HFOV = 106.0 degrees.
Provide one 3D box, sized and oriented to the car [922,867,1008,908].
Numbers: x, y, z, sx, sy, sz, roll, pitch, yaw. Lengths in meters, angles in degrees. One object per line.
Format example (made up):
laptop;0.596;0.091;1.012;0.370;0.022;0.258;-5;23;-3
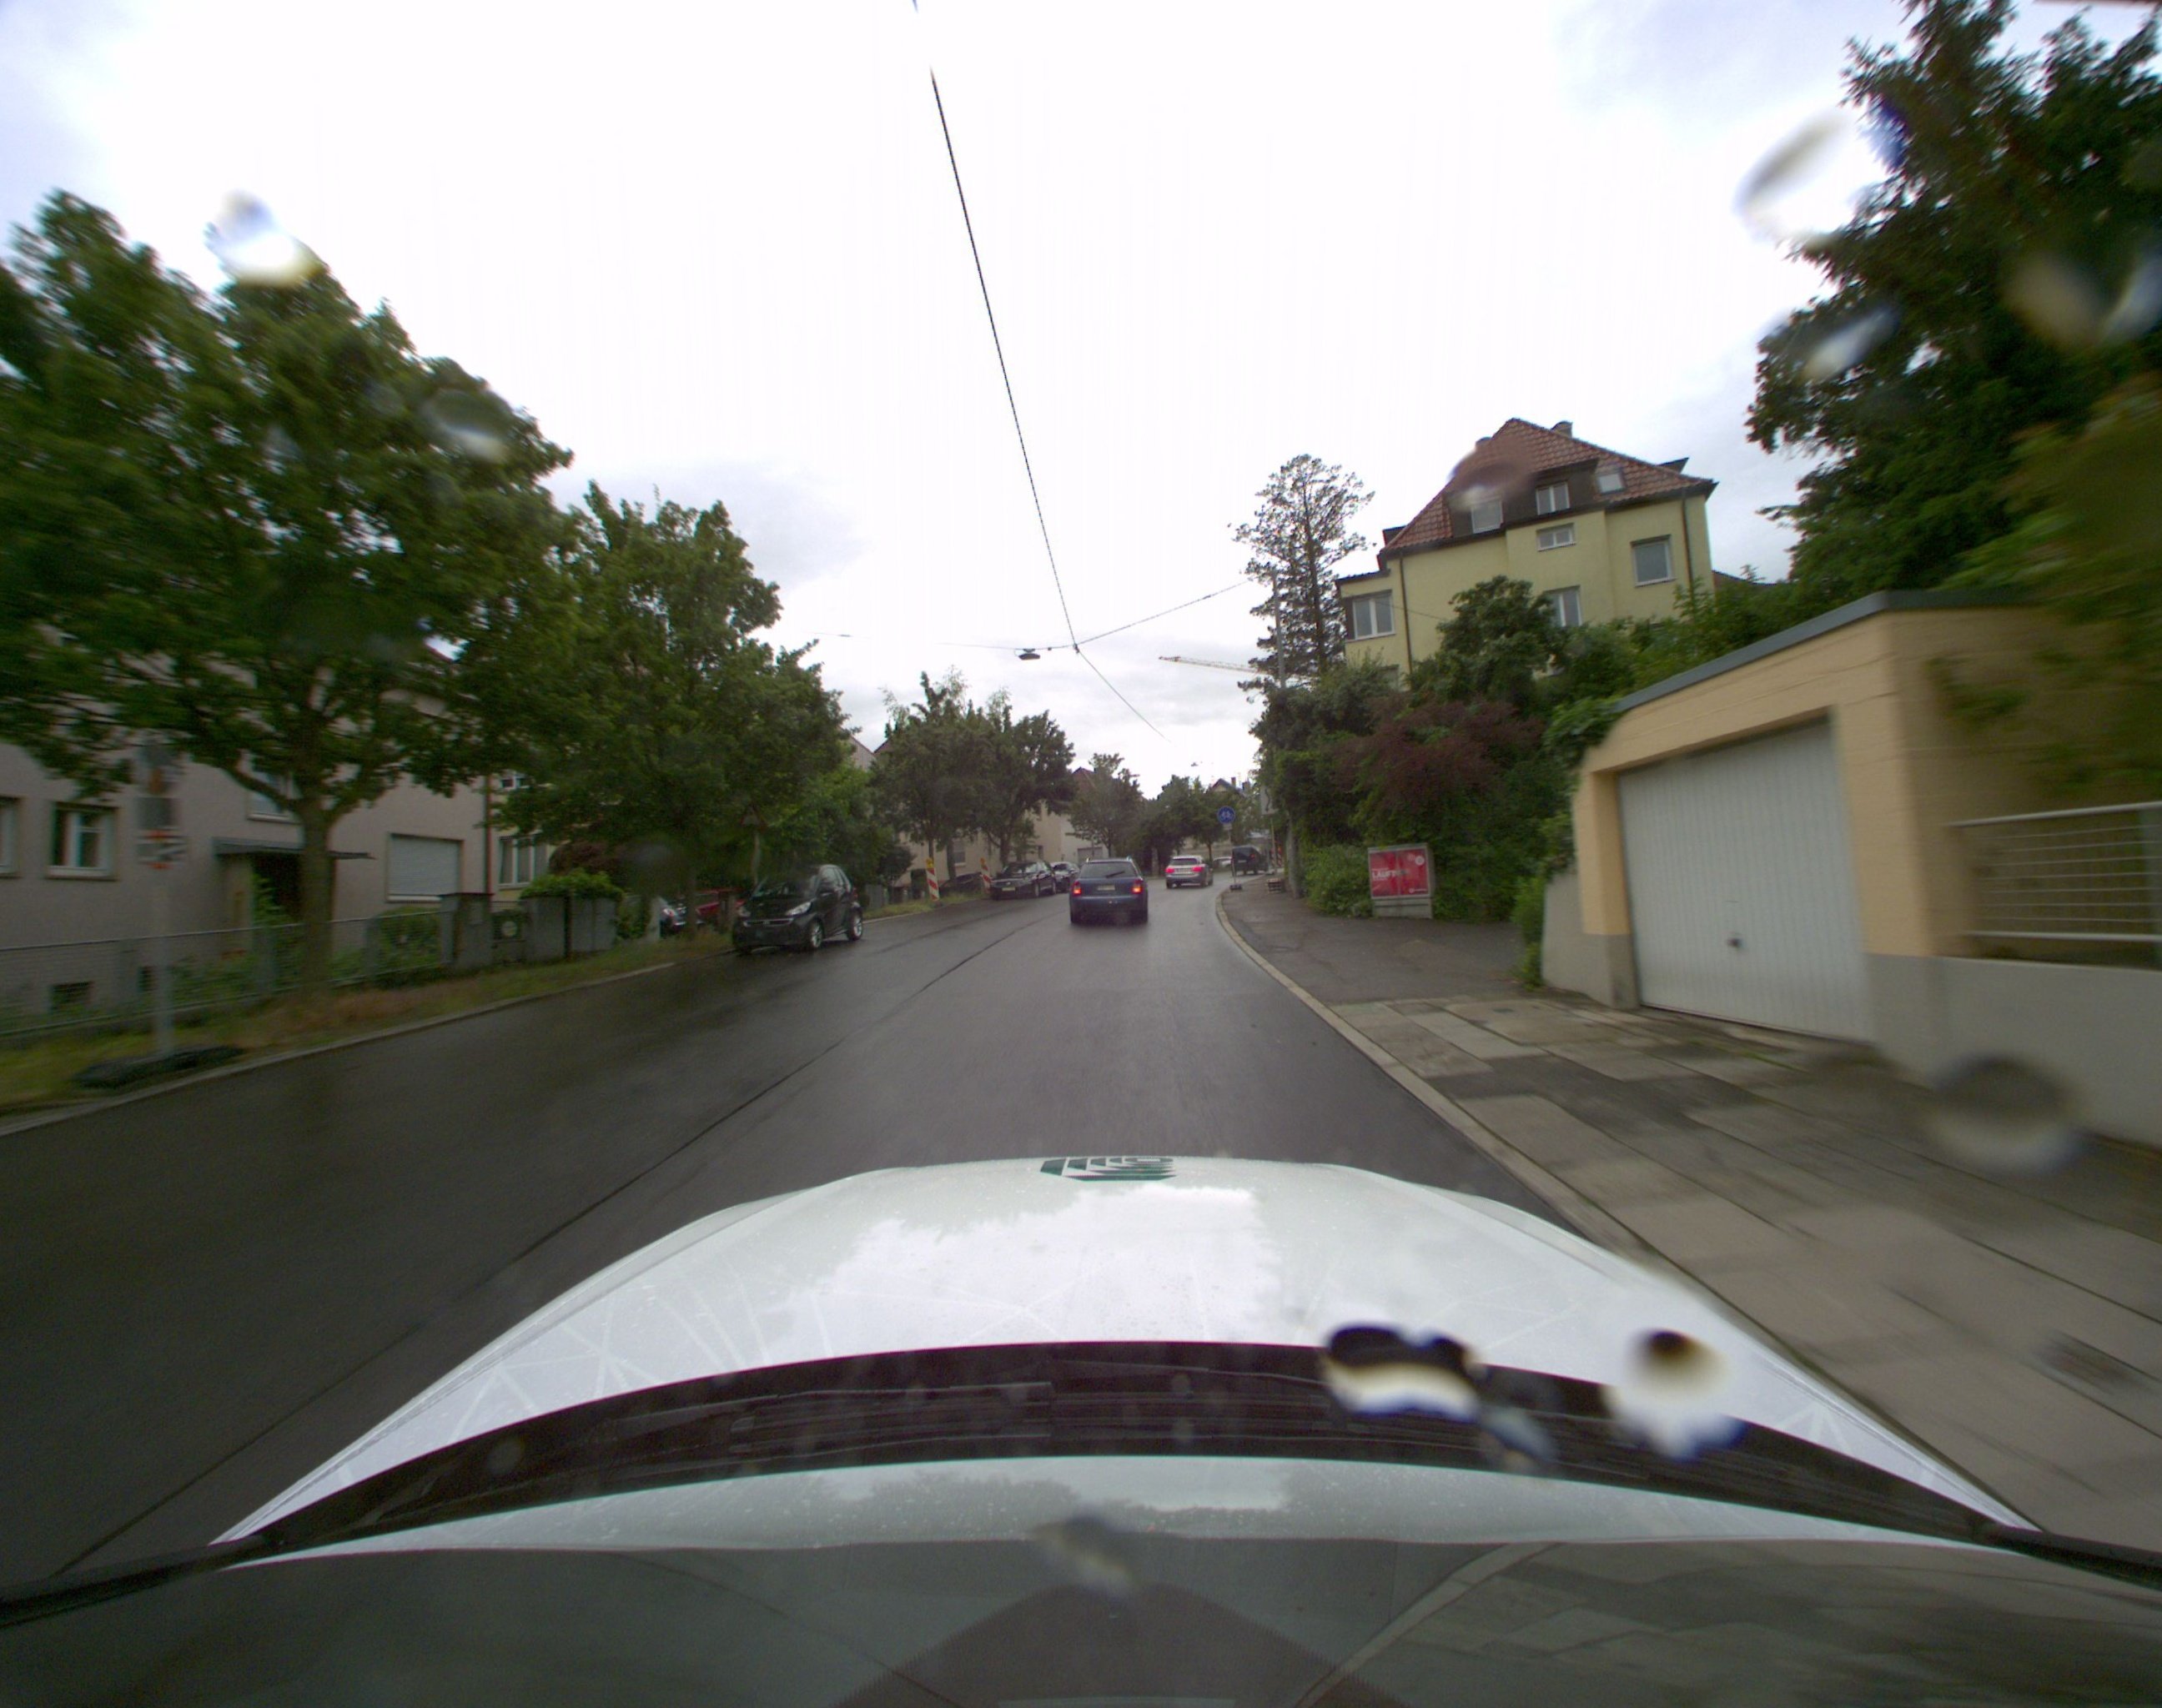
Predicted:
car;-6.507;1.866;45.571;4.200;1.504;1.925;-12;-5;26

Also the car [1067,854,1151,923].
car;0.757;0.728;19.182;1.769;1.439;4.005;-1;0;5

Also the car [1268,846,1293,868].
car;16.016;0.264;65.225;1.706;1.660;3.730;-1;-1;17

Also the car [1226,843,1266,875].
car;10.699;0.305;52.665;1.715;1.894;4.077;-3;-1;22

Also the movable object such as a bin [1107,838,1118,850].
movable object such as a bin;2.455;-0.757;63.635;0.663;0.921;0.595;-3;0;26

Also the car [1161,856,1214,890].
car;5.037;0.841;37.897;1.895;1.388;4.367;-4;-1;14

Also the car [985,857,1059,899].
car;-2.278;0.911;32.610;1.721;1.484;4.544;-2;-1;12

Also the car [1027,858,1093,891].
car;-0.922;0.927;38.235;1.693;1.382;4.550;-3;-1;17

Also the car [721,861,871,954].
car;-5.290;0.934;15.507;1.511;1.535;3.040;-3;-1;5

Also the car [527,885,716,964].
car;-12.084;1.831;21.527;3.895;1.360;1.833;-10;-3;9

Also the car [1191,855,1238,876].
car;13.637;1.188;83.315;4.157;1.604;1.962;-9;-4;27

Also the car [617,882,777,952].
car;-11.631;1.885;24.771;3.895;1.394;1.783;-10;-3;9
